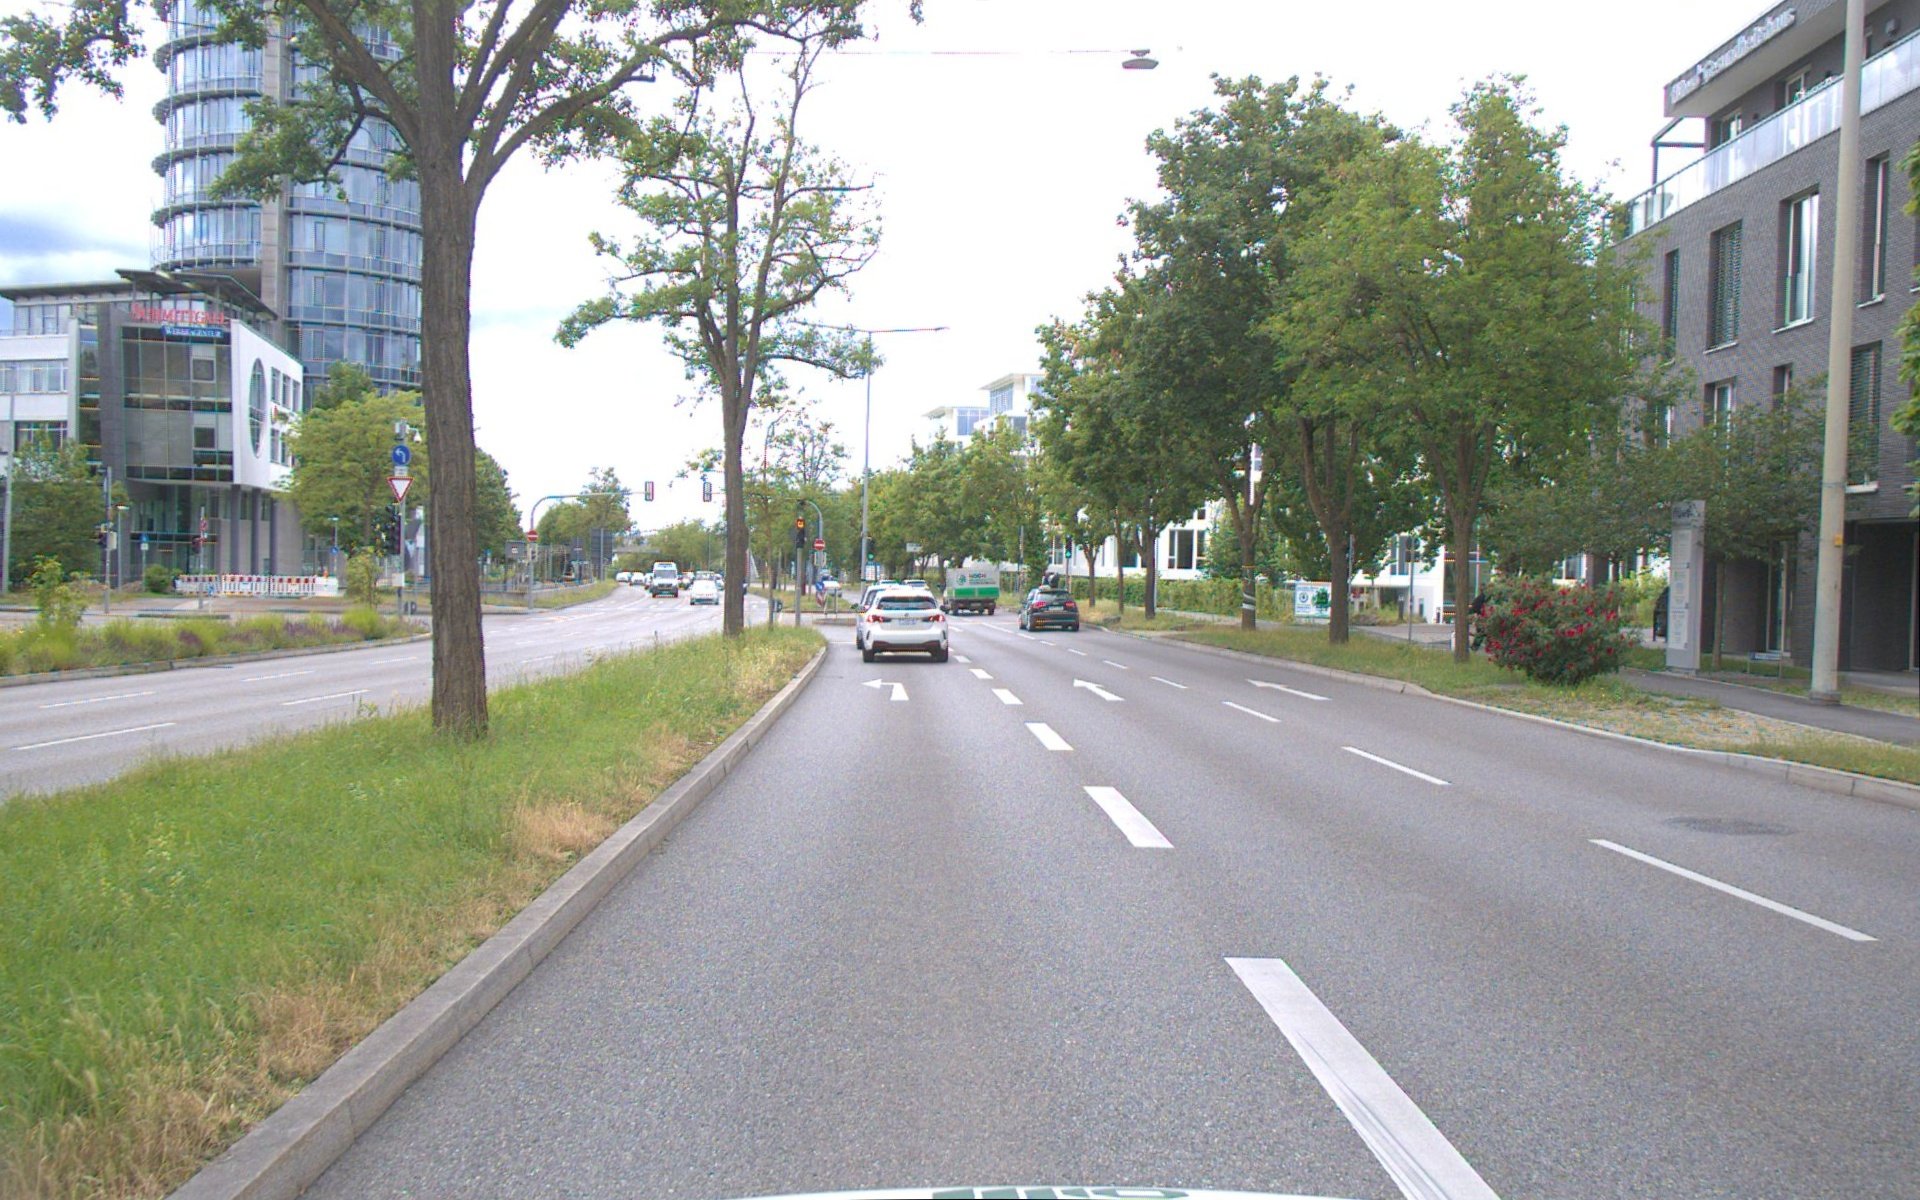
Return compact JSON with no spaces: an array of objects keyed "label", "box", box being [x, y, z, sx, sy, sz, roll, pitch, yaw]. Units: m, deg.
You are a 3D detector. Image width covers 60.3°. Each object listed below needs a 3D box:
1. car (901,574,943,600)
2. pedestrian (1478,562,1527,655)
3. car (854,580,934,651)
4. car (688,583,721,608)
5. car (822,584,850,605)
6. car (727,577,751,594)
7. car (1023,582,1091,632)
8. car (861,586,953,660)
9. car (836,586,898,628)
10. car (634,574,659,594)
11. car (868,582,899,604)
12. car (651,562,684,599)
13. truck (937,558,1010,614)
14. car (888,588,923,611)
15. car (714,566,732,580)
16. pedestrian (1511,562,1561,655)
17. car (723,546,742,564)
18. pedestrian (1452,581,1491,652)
[{"label":"car","box":[-2.334,-0.804,100.684,1.957,1.534,3.991,0,1,-10]},{"label":"pedestrian","box":[10.888,0.154,33.211,0.596,1.806,0.953,1,2,-2]},{"label":"car","box":[-1.684,0.384,42.568,1.953,1.701,3.998,1,0,-2]},{"label":"car","box":[-15.833,-0.282,102.578,1.719,1.469,4.130,2,0,-6]},{"label":"car","box":[-9.236,-0.423,122.911,1.955,1.517,3.996,1,0,-5]},{"label":"car","box":[-18.898,-1.254,141.281,1.719,1.395,3.777,0,0,-3]},{"label":"car","box":[3.273,0.203,56.692,1.953,1.624,3.999,1,0,-2]},{"label":"car","box":[-1.078,0.466,35.297,1.825,1.474,3.999,1,0,0]},{"label":"car","box":[-3.552,0.250,63.755,1.952,1.534,4.001,1,0,3]},{"label":"car","box":[-31.614,-1.580,166.941,1.955,1.885,4.319,2,0,-6]},{"label":"car","box":[-5.385,-0.512,116.345,1.955,1.517,3.996,1,0,-5]},{"label":"car","box":[-22.409,-1.503,126.815,1.955,2.680,5.868,2,0,-6]},{"label":"truck","box":[0.576,-0.656,79.749,2.804,2.563,6.279,1,0,-6]},{"label":"car","box":[-3.763,-0.071,113.350,1.956,1.534,3.993,1,0,-8]},{"label":"car","box":[-31.135,-3.526,217.279,1.954,1.646,3.998,2,0,-3]},{"label":"pedestrian","box":[11.573,0.156,33.254,0.596,1.806,0.953,1,2,-2]},{"label":"car","box":[-27.352,-5.369,199.182,1.955,2.046,4.319,2,0,-6]},{"label":"pedestrian","box":[11.563,0.364,37.404,0.710,1.579,0.587,1,0,2]}]
